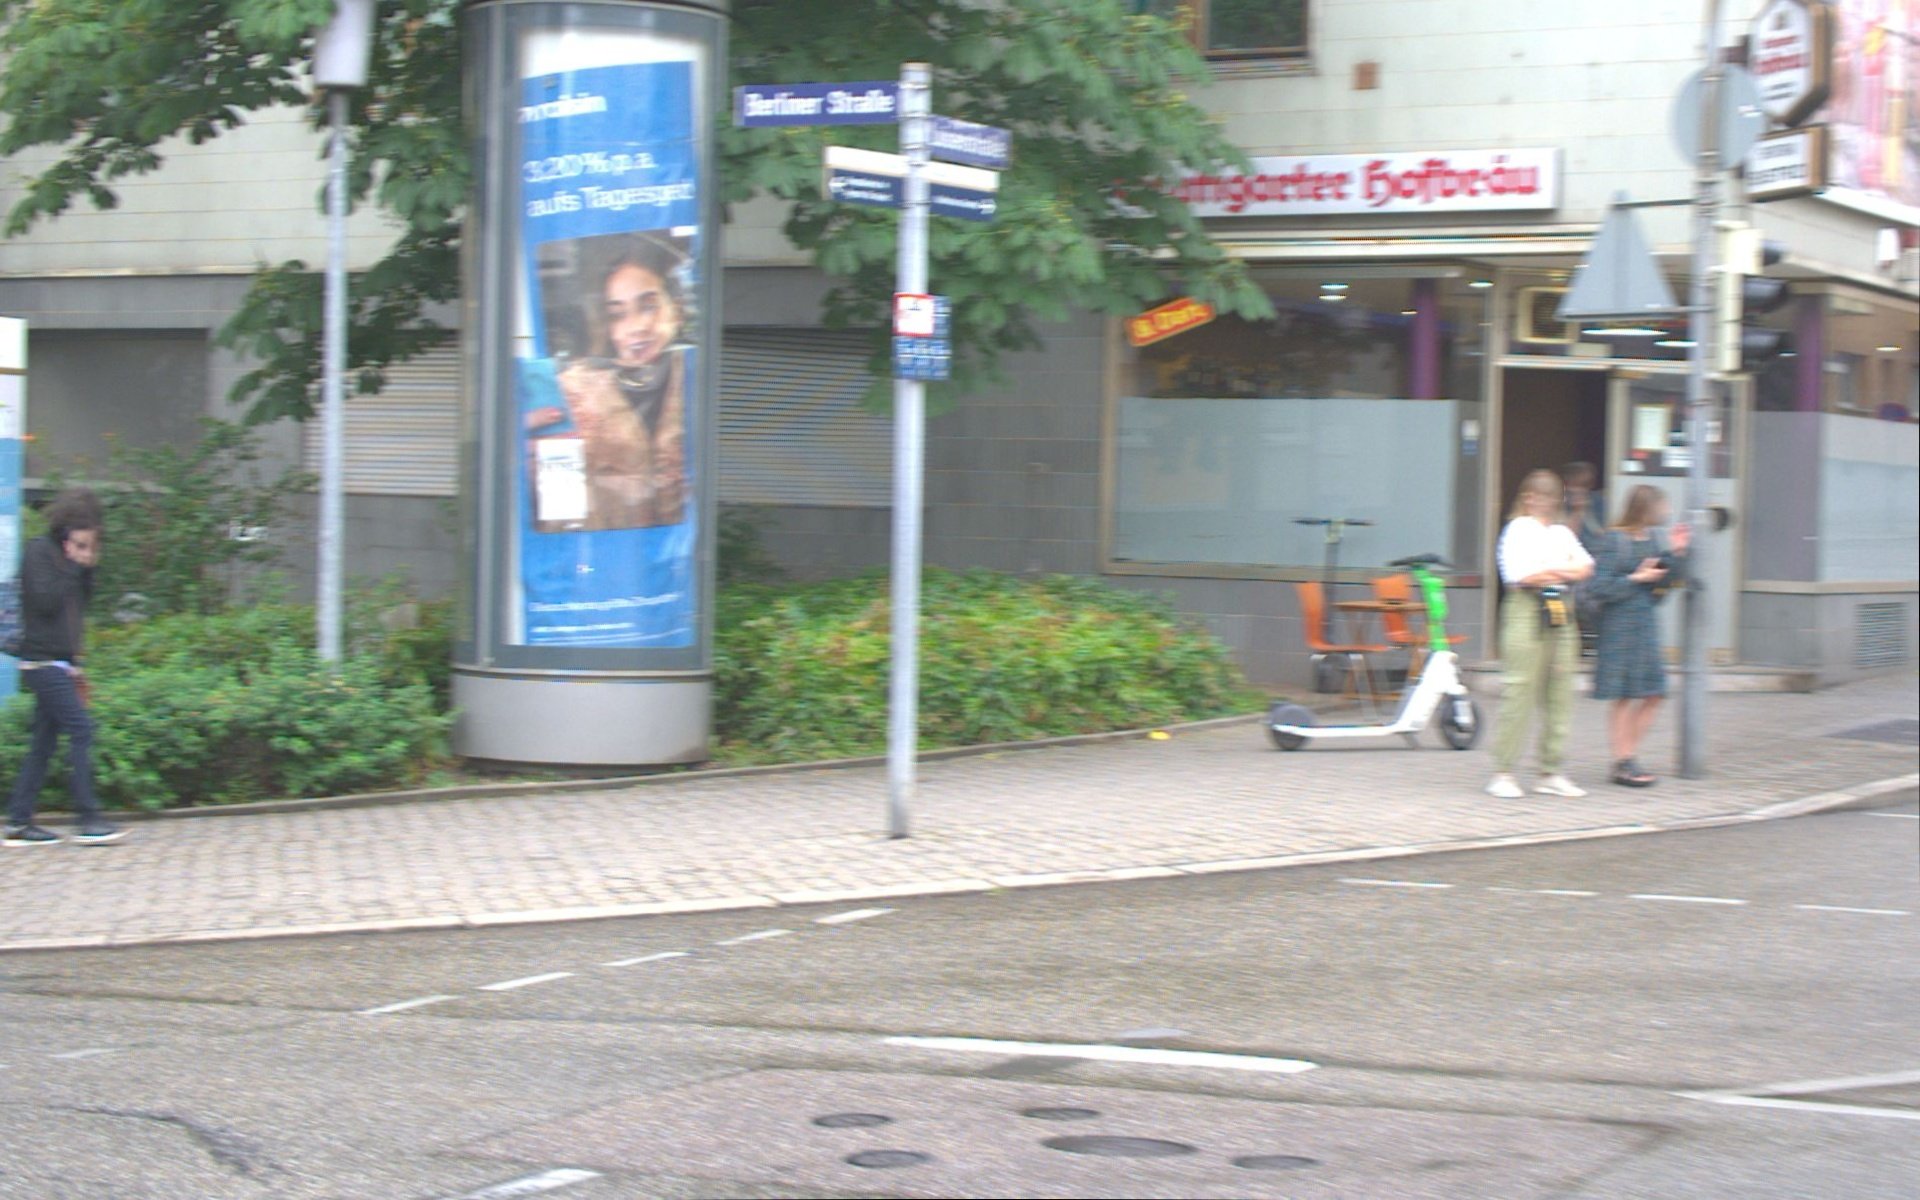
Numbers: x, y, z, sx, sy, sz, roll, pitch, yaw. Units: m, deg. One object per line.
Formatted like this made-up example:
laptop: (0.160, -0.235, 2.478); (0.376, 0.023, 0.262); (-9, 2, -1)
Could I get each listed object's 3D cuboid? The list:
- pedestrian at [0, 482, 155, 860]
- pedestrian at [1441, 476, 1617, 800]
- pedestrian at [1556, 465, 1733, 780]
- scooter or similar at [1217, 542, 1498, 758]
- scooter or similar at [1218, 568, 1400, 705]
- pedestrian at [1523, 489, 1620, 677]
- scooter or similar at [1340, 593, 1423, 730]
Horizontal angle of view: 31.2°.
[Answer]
pedestrian: (-4.563, 0.326, 17.203); (0.752, 1.811, 0.917); (-3, 3, -30)
pedestrian: (2.987, 0.185, 18.104); (0.707, 1.641, 0.759); (1, 4, -5)
pedestrian: (3.692, 0.109, 18.595); (0.707, 1.641, 0.759); (1, 4, -5)
scooter or similar: (2.321, 0.287, 20.179); (1.556, 1.186, 0.501); (2, 0, 2)
scooter or similar: (2.290, 0.229, 22.683); (0.548, 0.840, 1.466); (2, 0, -22)
pedestrian: (4.651, -0.128, 26.133); (0.519, 1.395, 0.577); (3, 0, 28)
scooter or similar: (2.719, 0.384, 22.104); (0.458, 0.840, 1.322); (2, 0, 9)
